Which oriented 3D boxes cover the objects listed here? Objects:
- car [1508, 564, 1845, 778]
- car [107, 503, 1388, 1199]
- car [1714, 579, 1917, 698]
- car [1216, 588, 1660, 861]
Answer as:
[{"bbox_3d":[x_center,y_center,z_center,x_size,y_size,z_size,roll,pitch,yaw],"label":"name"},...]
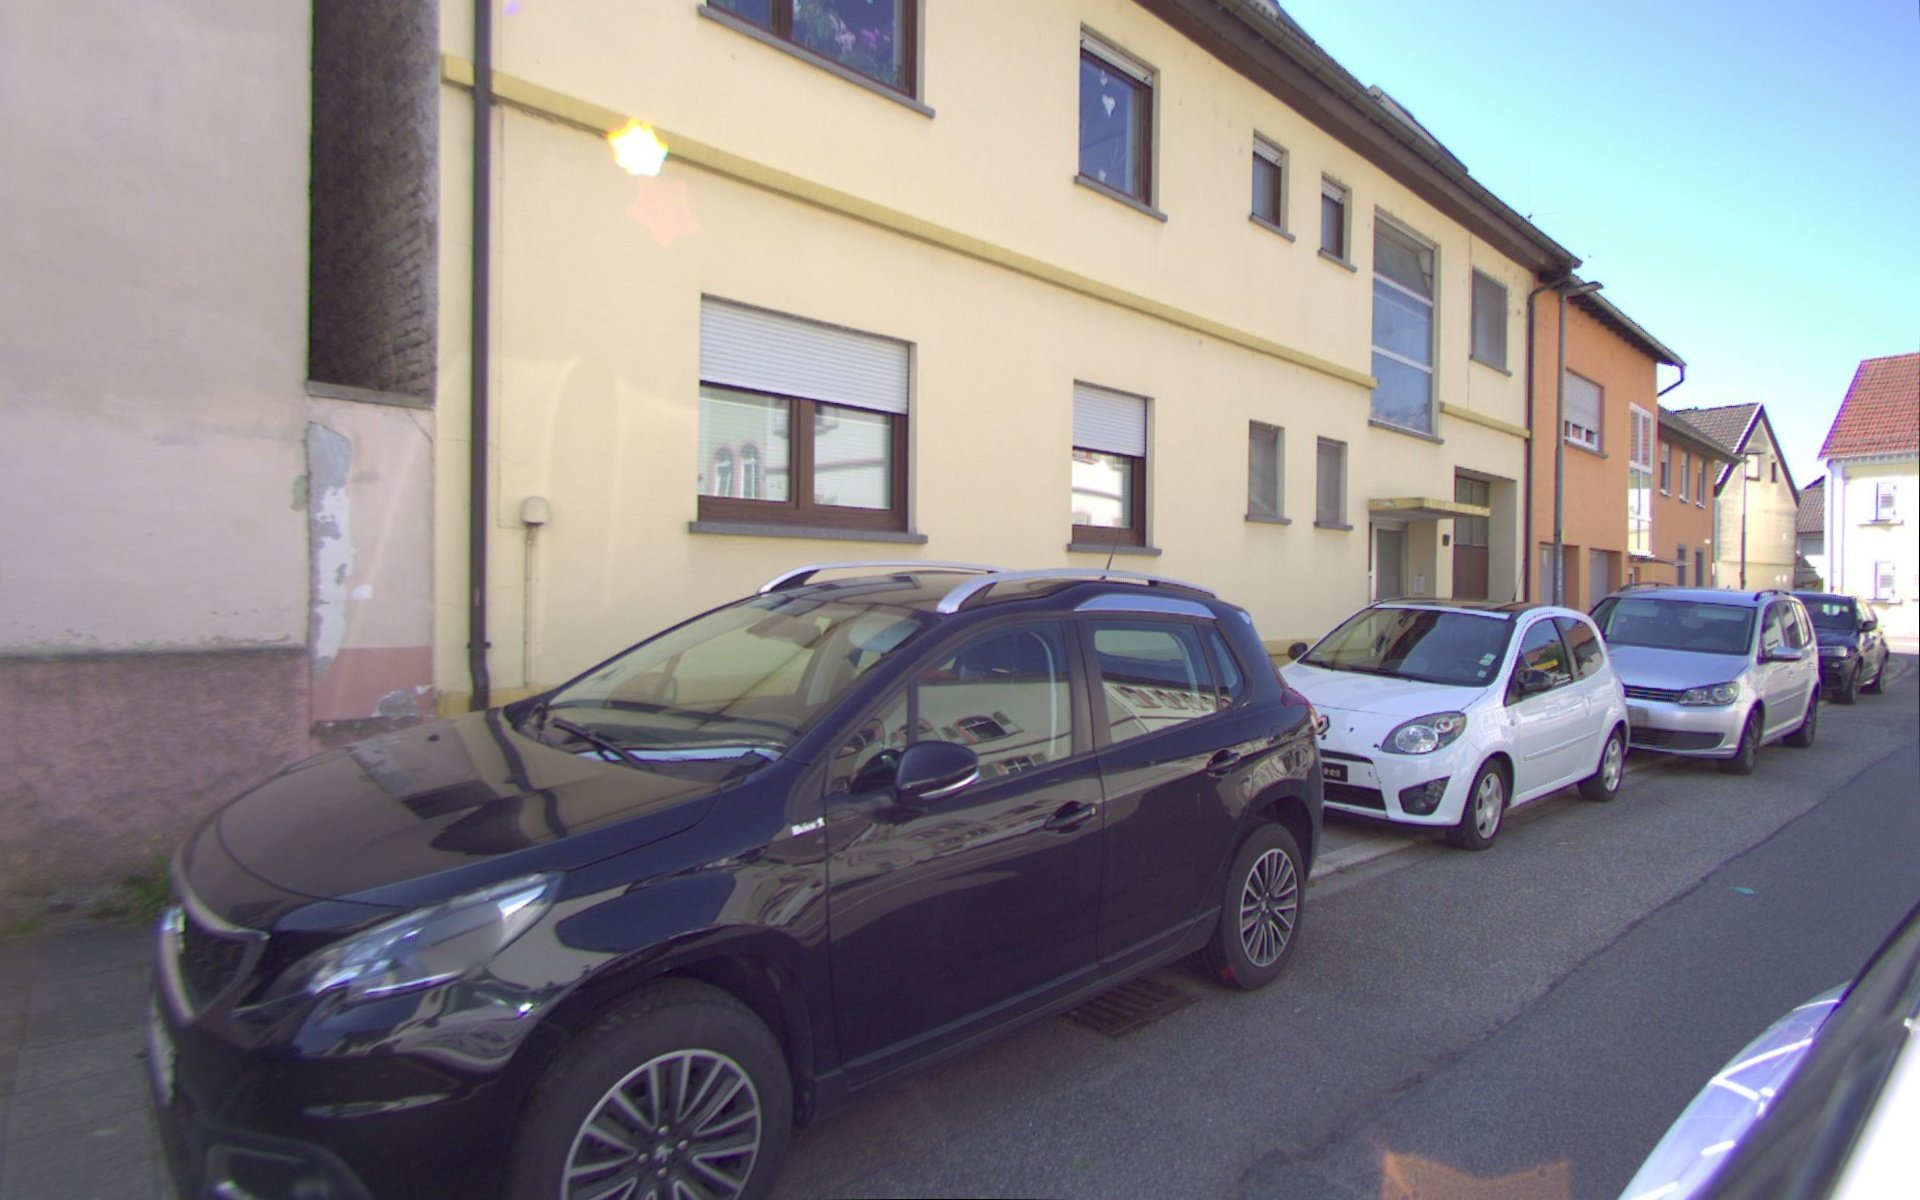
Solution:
[{"bbox_3d":[7.457,0.567,10.383,4.175,1.750,1.901,0,0,-41],"label":"car"},{"bbox_3d":[-0.278,0.624,3.441,3.959,1.603,1.701,0,2,-43],"label":"car"},{"bbox_3d":[14.564,0.540,17.118,5.090,1.724,1.848,0,1,-41],"label":"car"},{"bbox_3d":[3.582,0.659,7.302,3.656,1.456,1.554,0,2,-41],"label":"car"}]
